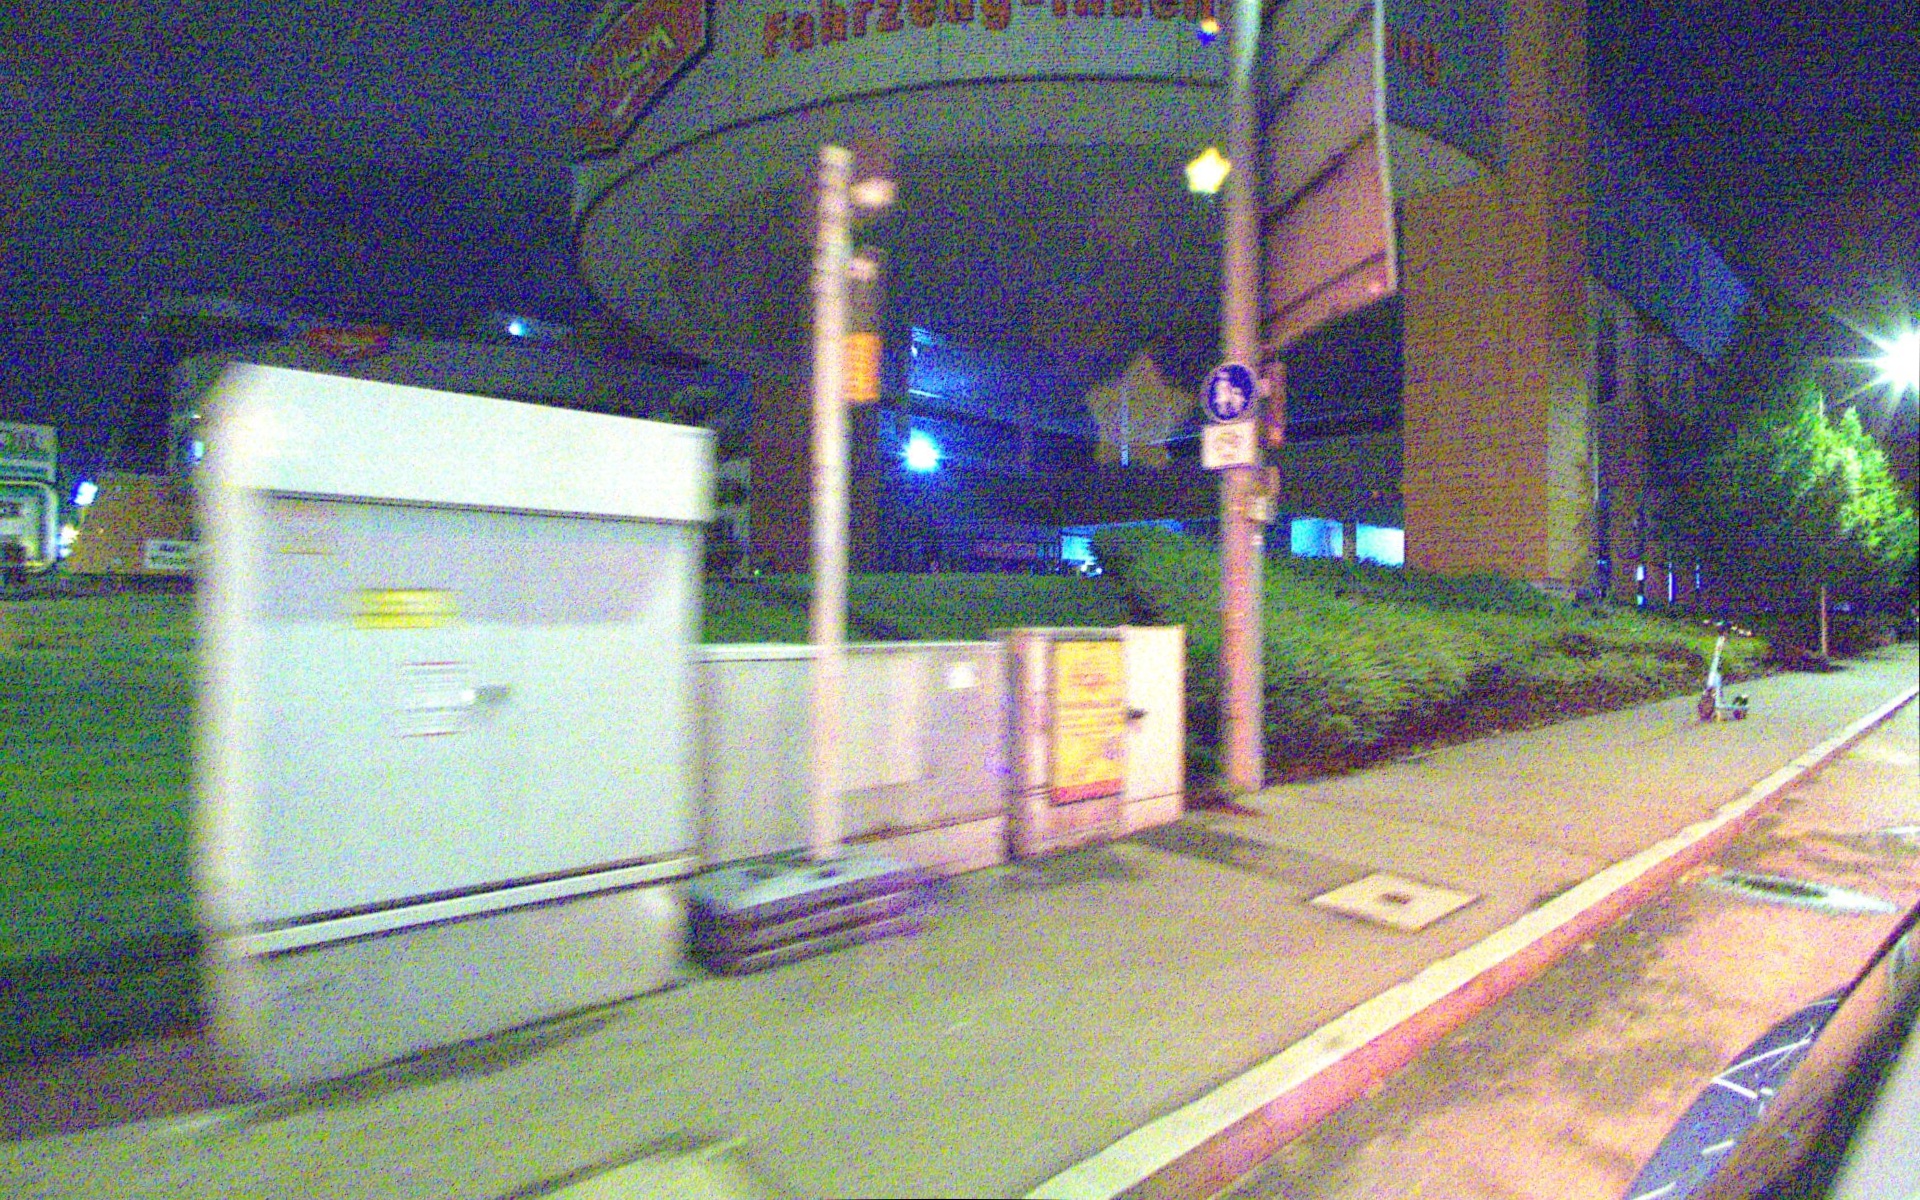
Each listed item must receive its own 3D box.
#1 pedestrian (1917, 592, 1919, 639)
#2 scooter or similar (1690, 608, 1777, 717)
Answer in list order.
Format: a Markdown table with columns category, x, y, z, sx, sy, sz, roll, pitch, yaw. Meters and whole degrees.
| category | x | y | z | sx | sy | sz | roll | pitch | yaw |
| --- | --- | --- | --- | --- | --- | --- | --- | --- | --- |
| pedestrian | 37.792 | 0.592 | 39.314 | 0.597 | 1.842 | 0.824 | 0 | 0 | -40 |
| scooter or similar | 9.820 | 0.762 | 12.836 | 1.367 | 1.295 | 0.570 | 1 | 1 | -41 |
